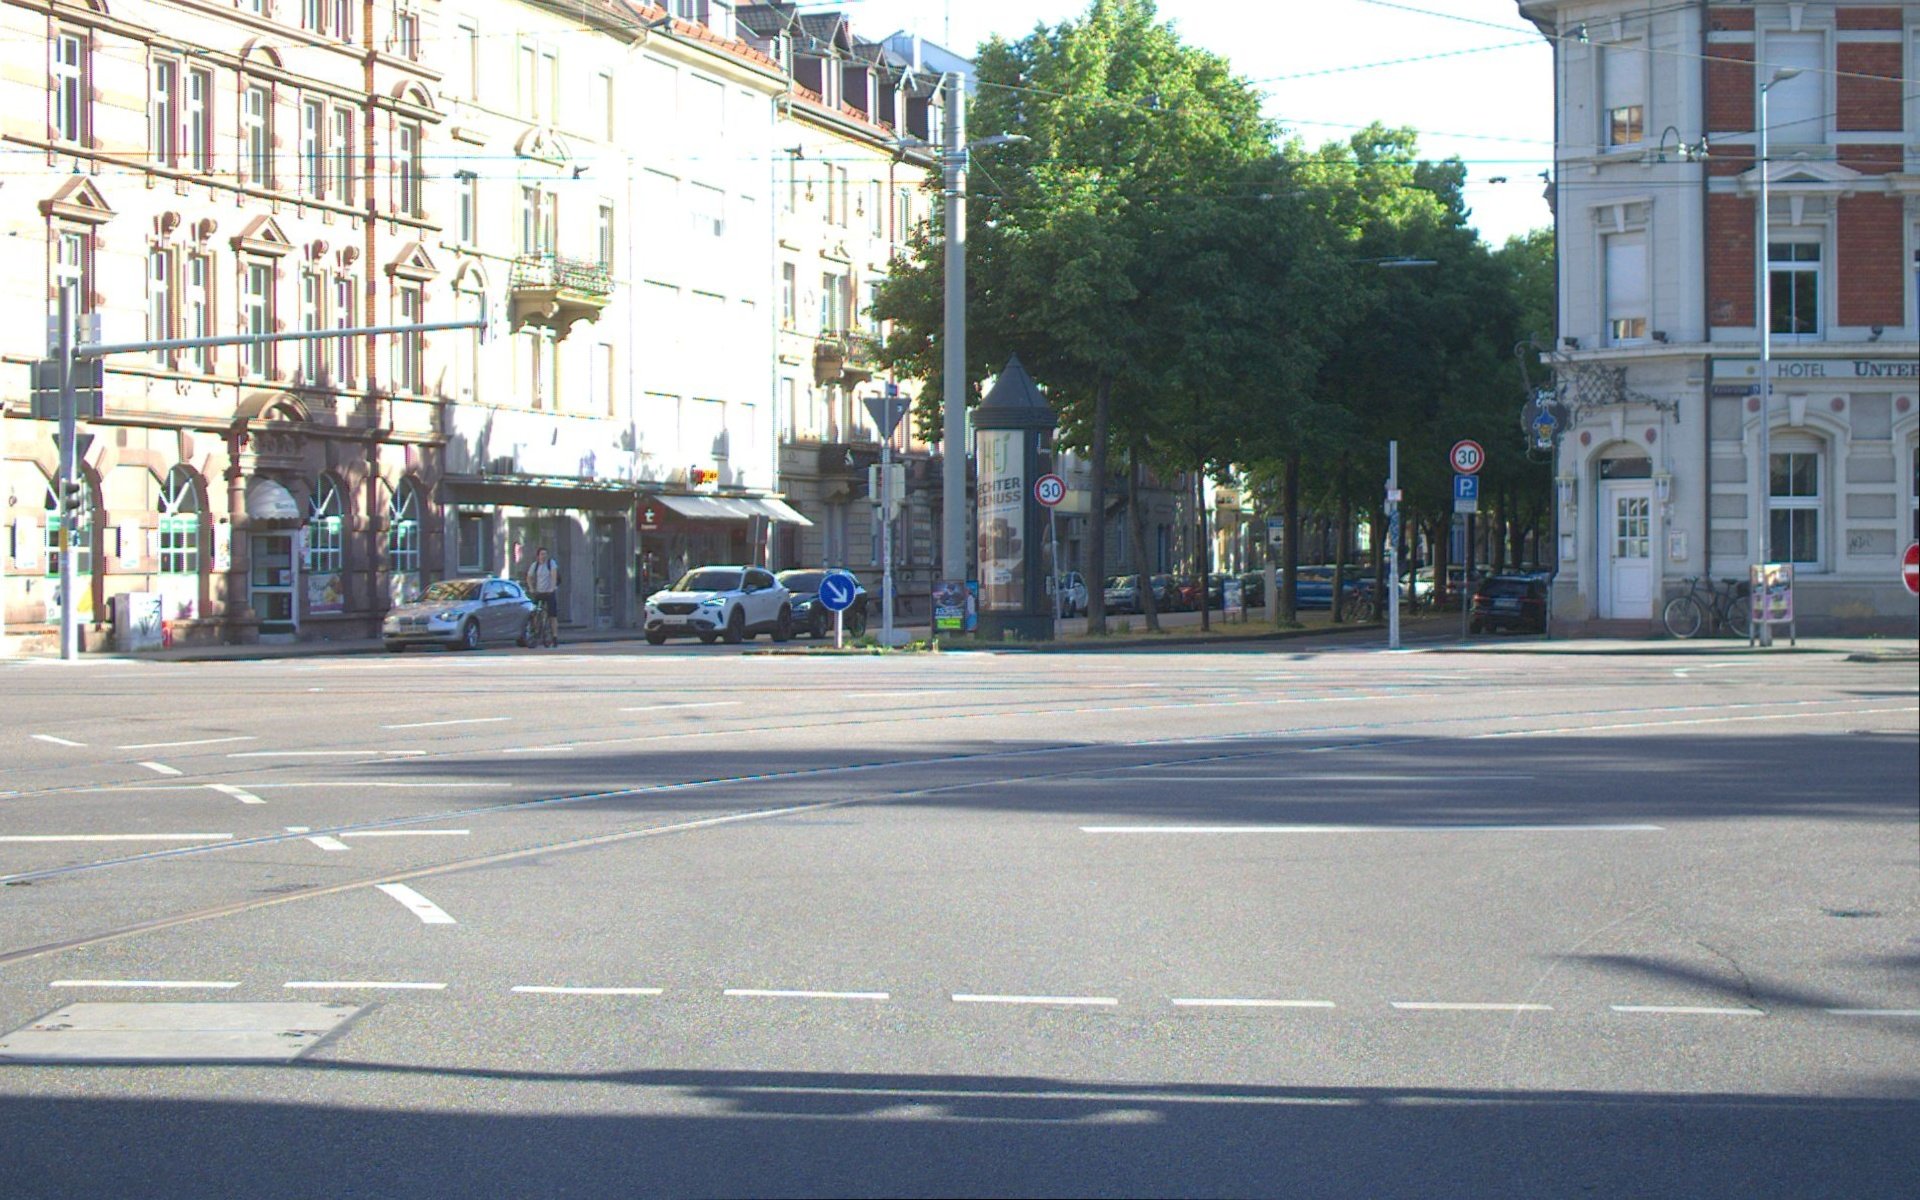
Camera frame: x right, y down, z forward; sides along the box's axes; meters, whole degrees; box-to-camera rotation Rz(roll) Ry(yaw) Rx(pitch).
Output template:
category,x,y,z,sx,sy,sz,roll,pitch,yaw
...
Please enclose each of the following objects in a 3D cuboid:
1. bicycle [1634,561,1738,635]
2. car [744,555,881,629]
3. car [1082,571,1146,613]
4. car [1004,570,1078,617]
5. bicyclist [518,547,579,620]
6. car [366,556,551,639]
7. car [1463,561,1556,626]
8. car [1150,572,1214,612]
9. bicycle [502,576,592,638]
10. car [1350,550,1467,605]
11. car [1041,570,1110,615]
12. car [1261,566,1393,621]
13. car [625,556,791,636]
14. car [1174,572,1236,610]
category,x,y,z,sx,sy,sz,roll,pitch,yaw
bicycle,12.066,-0.034,57.135,1.639,1.218,0.606,0,1,16
car,-3.125,-0.192,73.534,1.994,1.508,3.998,0,1,12
car,5.512,-0.308,122.784,1.741,1.393,4.122,3,1,9
car,2.601,-0.220,110.002,1.741,1.393,4.122,3,1,9
bicyclist,-7.849,-0.316,65.592,0.794,1.370,1.107,0,1,14
car,-9.773,-0.072,67.381,2.098,1.540,4.361,0,1,14
car,13.172,-0.158,82.287,1.652,1.519,3.750,0,0,17
car,8.513,-0.318,131.608,1.742,1.393,4.121,3,1,13
bicycle,-7.863,0.126,65.630,0.751,1.131,2.808,0,1,14
car,17.413,-0.882,133.425,4.115,1.912,1.744,3,1,21
car,3.925,-0.260,115.807,1.741,1.393,4.122,3,1,9
car,12.296,-0.230,115.226,4.113,1.640,1.745,3,1,15
car,-4.874,-0.104,67.167,2.098,1.494,3.998,0,1,14
car,9.731,-0.354,136.387,1.742,1.393,4.121,3,1,13
